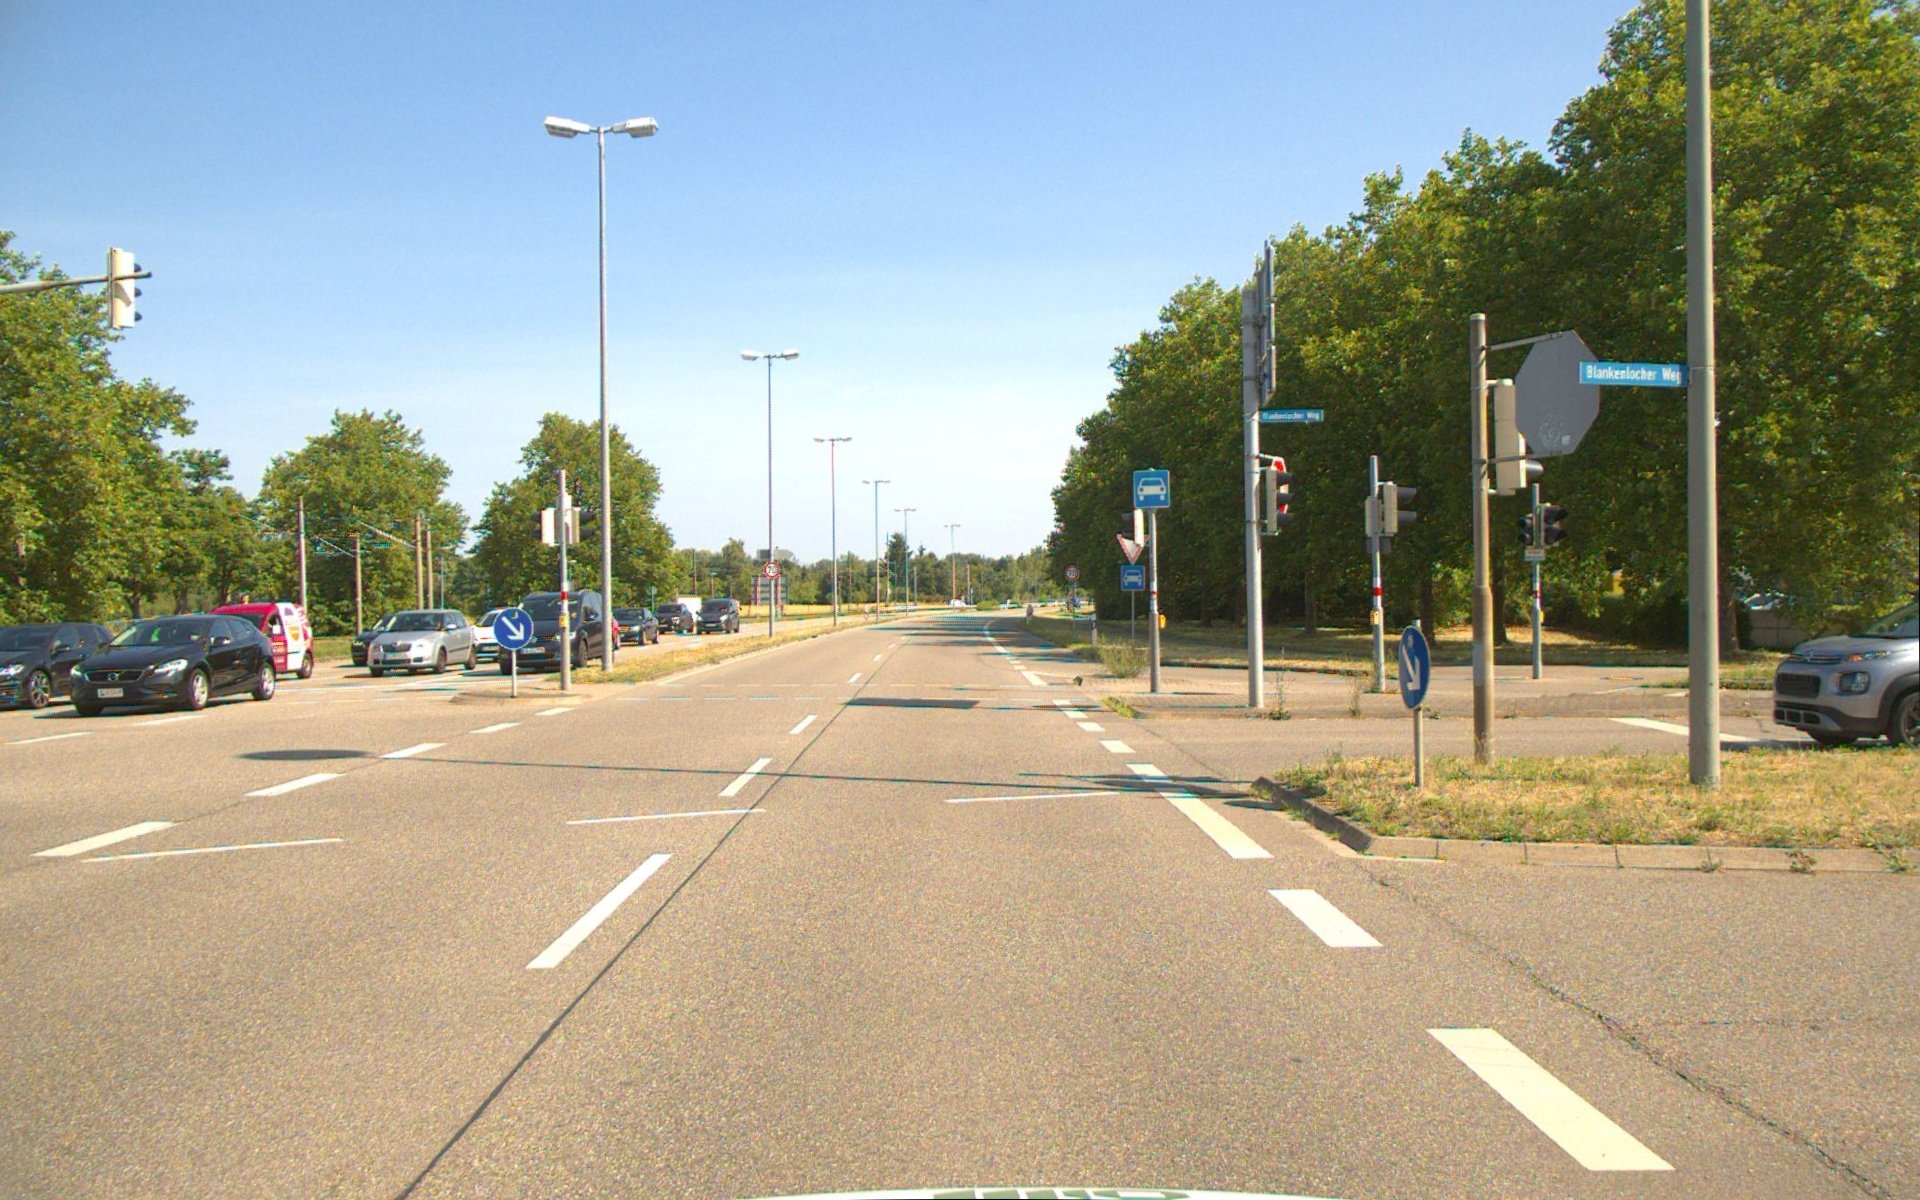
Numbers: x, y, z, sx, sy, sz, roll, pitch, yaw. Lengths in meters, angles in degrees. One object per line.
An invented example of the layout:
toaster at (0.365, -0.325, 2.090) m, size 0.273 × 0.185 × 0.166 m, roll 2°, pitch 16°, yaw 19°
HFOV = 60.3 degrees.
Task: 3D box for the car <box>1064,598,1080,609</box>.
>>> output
car at (16.391, 0.490, 242.917) m, size 1.939 × 1.483 × 4.121 m, roll -2°, pitch 0°, yaw 9°

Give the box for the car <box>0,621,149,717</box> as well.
car at (-16.152, 1.161, 28.796) m, size 1.846 × 1.483 × 4.230 m, roll -1°, pitch 0°, yaw 2°

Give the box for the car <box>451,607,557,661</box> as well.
car at (-12.808, 0.919, 46.657) m, size 1.791 × 1.410 × 3.844 m, roll -1°, pitch 0°, yaw 2°

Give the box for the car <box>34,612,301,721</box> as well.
car at (-12.135, 0.958, 25.684) m, size 1.940 × 1.483 × 4.333 m, roll -1°, pitch 0°, yaw 2°

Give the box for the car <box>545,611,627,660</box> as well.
car at (-12.336, 1.152, 54.796) m, size 1.778 × 1.510 × 4.000 m, roll -1°, pitch 0°, yaw 0°

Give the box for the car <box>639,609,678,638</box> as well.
car at (-16.623, 1.286, 91.324) m, size 1.944 × 1.483 × 4.221 m, roll -1°, pitch 0°, yaw -8°

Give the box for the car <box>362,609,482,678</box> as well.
car at (-12.538, 0.984, 38.781) m, size 1.586 × 1.483 × 3.870 m, roll -1°, pitch 0°, yaw -1°

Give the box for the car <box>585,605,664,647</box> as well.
car at (-12.558, 0.940, 62.173) m, size 1.940 × 1.483 × 4.451 m, roll -1°, pitch 0°, yaw 2°

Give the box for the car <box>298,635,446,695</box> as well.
car at (-17.096, 1.855, 48.404) m, size 1.951 × 1.500 × 5.620 m, roll -1°, pitch 0°, yaw 4°

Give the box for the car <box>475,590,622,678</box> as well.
car at (-8.898, 0.697, 36.176) m, size 1.940 × 1.781 × 4.509 m, roll -1°, pitch 0°, yaw 2°

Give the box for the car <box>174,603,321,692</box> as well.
car at (-15.864, 1.009, 37.049) m, size 1.671 × 1.800 × 4.225 m, roll -2°, pitch 0°, yaw -4°

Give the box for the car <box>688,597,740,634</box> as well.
car at (-12.656, 0.786, 85.338) m, size 1.940 × 1.810 × 4.490 m, roll -1°, pitch 0°, yaw 1°

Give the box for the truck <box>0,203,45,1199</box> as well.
truck at (-3.301, 0.284, 1.208) m, size 2.069 × 2.500 × 5.915 m, roll 0°, pitch 0°, yaw -1°

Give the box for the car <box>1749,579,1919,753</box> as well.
car at (10.147, 0.578, 16.217) m, size 3.969 × 1.591 × 1.742 m, roll -1°, pitch 0°, yaw -1°
